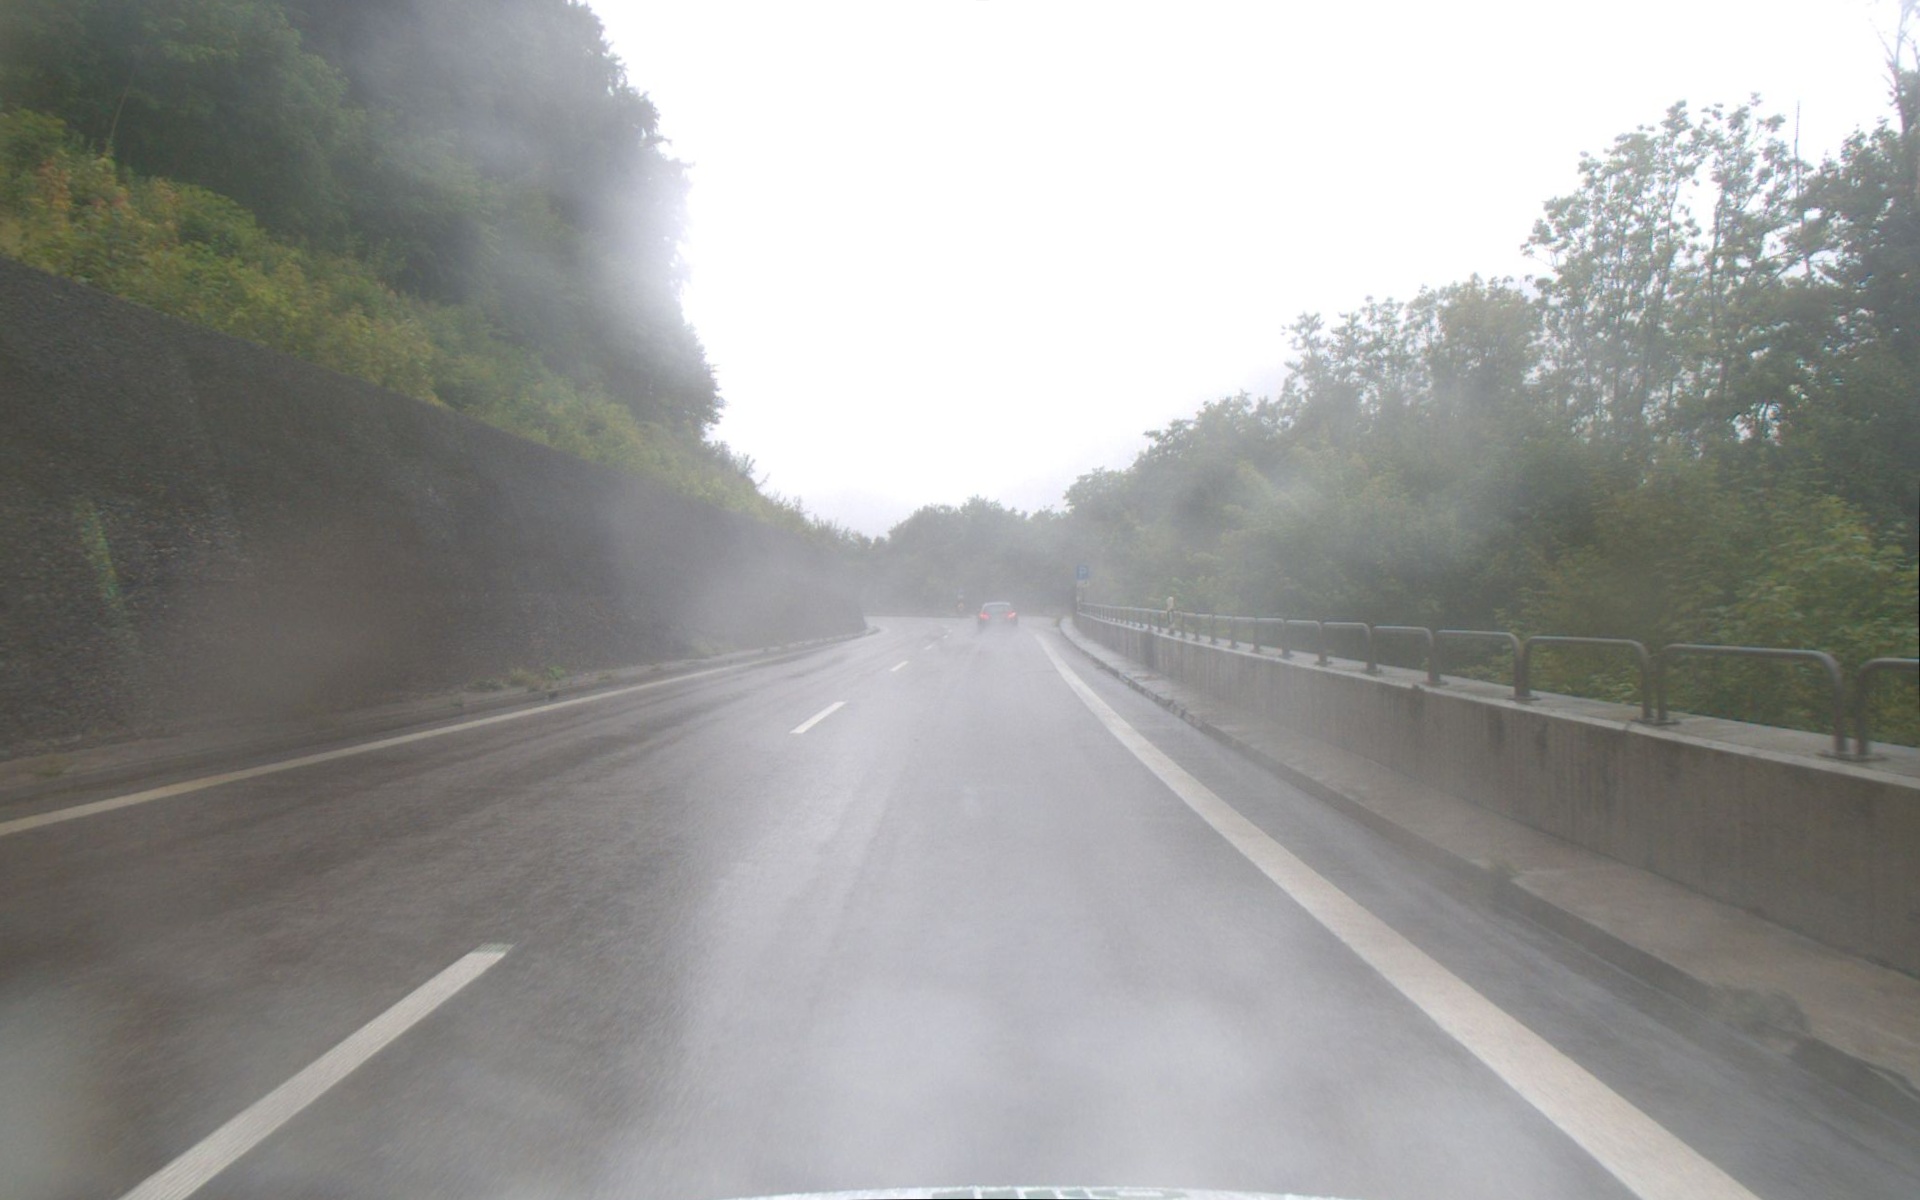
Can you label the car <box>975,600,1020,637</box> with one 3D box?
[{"bbox_3d":[1.620,0.786,72.442,1.864,1.525,4.000,-1,0,0],"label":"car"}]
